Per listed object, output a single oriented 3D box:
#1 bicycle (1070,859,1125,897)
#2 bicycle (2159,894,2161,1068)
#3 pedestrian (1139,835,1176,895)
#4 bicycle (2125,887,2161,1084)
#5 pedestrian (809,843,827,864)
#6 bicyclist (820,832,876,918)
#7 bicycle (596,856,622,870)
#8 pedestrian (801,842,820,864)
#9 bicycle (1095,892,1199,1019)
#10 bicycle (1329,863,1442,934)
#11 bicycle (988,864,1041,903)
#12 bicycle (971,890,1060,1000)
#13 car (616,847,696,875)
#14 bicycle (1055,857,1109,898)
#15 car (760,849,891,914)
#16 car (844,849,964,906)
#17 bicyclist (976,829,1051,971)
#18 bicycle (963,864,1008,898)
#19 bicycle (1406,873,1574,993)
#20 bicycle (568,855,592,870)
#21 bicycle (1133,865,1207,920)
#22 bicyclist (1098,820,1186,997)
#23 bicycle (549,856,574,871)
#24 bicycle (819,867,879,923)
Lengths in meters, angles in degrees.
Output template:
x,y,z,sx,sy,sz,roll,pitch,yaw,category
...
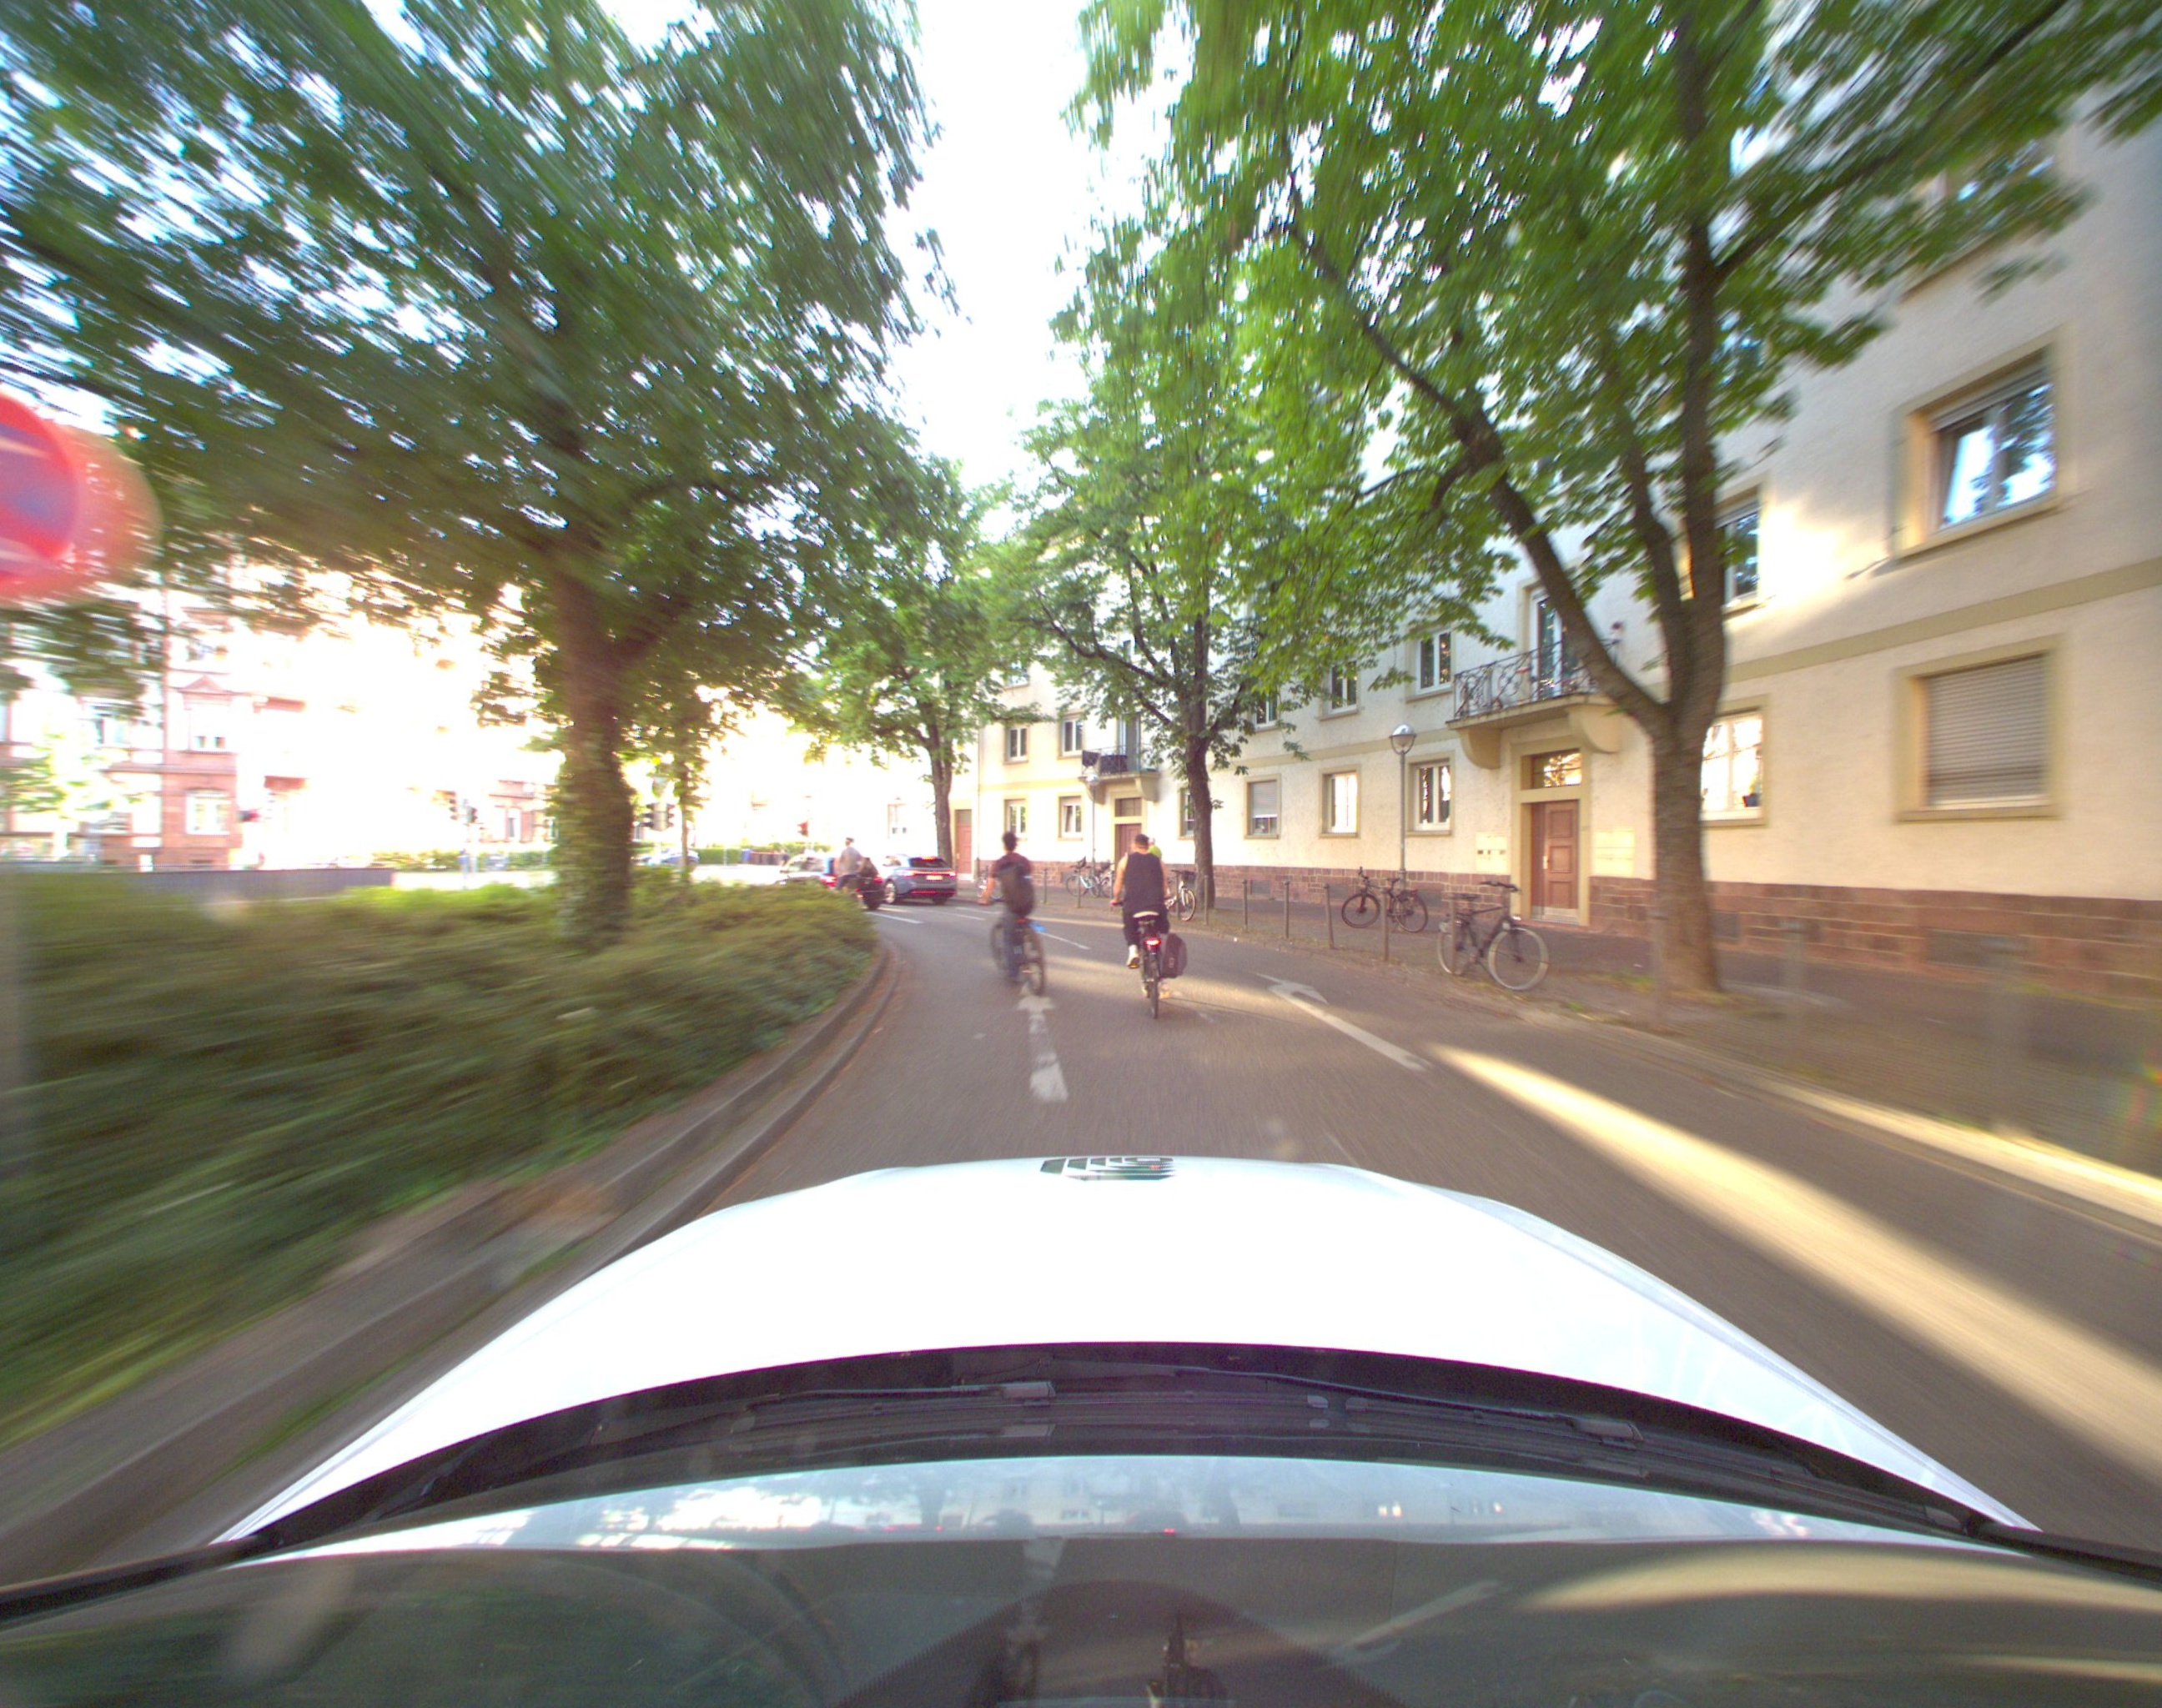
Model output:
x,y,z,sx,sy,sz,roll,pitch,yaw,category
0.490,0.719,25.615,0.586,1.114,2.094,-1,1,-36,bicycle
7.244,0.820,4.357,0.391,1.109,1.796,0,0,-11,bicycle
2.372,0.320,25.303,0.651,1.795,1.004,0,1,44,pedestrian
6.834,0.801,4.209,0.437,1.181,1.779,0,0,-9,bicycle
-24.202,-0.053,74.886,1.153,1.962,1.389,0,0,4,pedestrian
-5.331,0.450,18.630,0.858,1.898,1.126,0,0,-40,bicyclist
-30.418,0.553,52.512,0.445,0.861,1.455,0,0,24,bicycle
-25.141,-0.086,75.717,1.153,1.962,1.389,0,0,4,pedestrian
0.614,0.958,8.346,0.736,1.012,2.058,0,1,-5,bicycle
5.514,0.784,14.837,0.677,1.182,1.801,-2,0,-38,bicycle
-2.015,0.858,24.486,0.621,1.058,1.907,-2,2,-38,bicycle
-0.813,0.989,9.511,0.675,1.054,2.051,-1,-1,-15,bicycle
-25.535,0.385,49.114,1.982,1.496,4.387,0,2,9,car
0.008,0.696,25.256,0.498,1.172,2.094,-4,3,-36,bicycle
-7.037,0.694,22.259,1.829,1.543,3.910,-2,1,-44,car
-5.473,0.652,24.908,1.908,1.577,3.952,0,0,-42,car
-0.792,0.491,9.342,0.673,1.514,1.063,-1,0,-15,bicyclist
-3.041,0.826,25.692,0.523,0.999,2.169,0,0,-32,bicycle
4.574,0.825,9.304,0.679,1.158,1.995,-1,0,-9,bicycle
-30.806,0.513,50.079,0.445,0.861,1.231,0,0,24,bicycle
1.979,0.834,18.404,0.620,1.112,1.974,-4,2,-29,bicycle
0.594,0.519,8.234,0.751,1.682,0.912,0,0,-5,bicyclist
-31.223,0.549,48.939,0.445,0.861,1.231,0,0,24,bicycle
-5.322,0.907,18.623,0.602,1.161,2.018,0,0,-38,bicycle
